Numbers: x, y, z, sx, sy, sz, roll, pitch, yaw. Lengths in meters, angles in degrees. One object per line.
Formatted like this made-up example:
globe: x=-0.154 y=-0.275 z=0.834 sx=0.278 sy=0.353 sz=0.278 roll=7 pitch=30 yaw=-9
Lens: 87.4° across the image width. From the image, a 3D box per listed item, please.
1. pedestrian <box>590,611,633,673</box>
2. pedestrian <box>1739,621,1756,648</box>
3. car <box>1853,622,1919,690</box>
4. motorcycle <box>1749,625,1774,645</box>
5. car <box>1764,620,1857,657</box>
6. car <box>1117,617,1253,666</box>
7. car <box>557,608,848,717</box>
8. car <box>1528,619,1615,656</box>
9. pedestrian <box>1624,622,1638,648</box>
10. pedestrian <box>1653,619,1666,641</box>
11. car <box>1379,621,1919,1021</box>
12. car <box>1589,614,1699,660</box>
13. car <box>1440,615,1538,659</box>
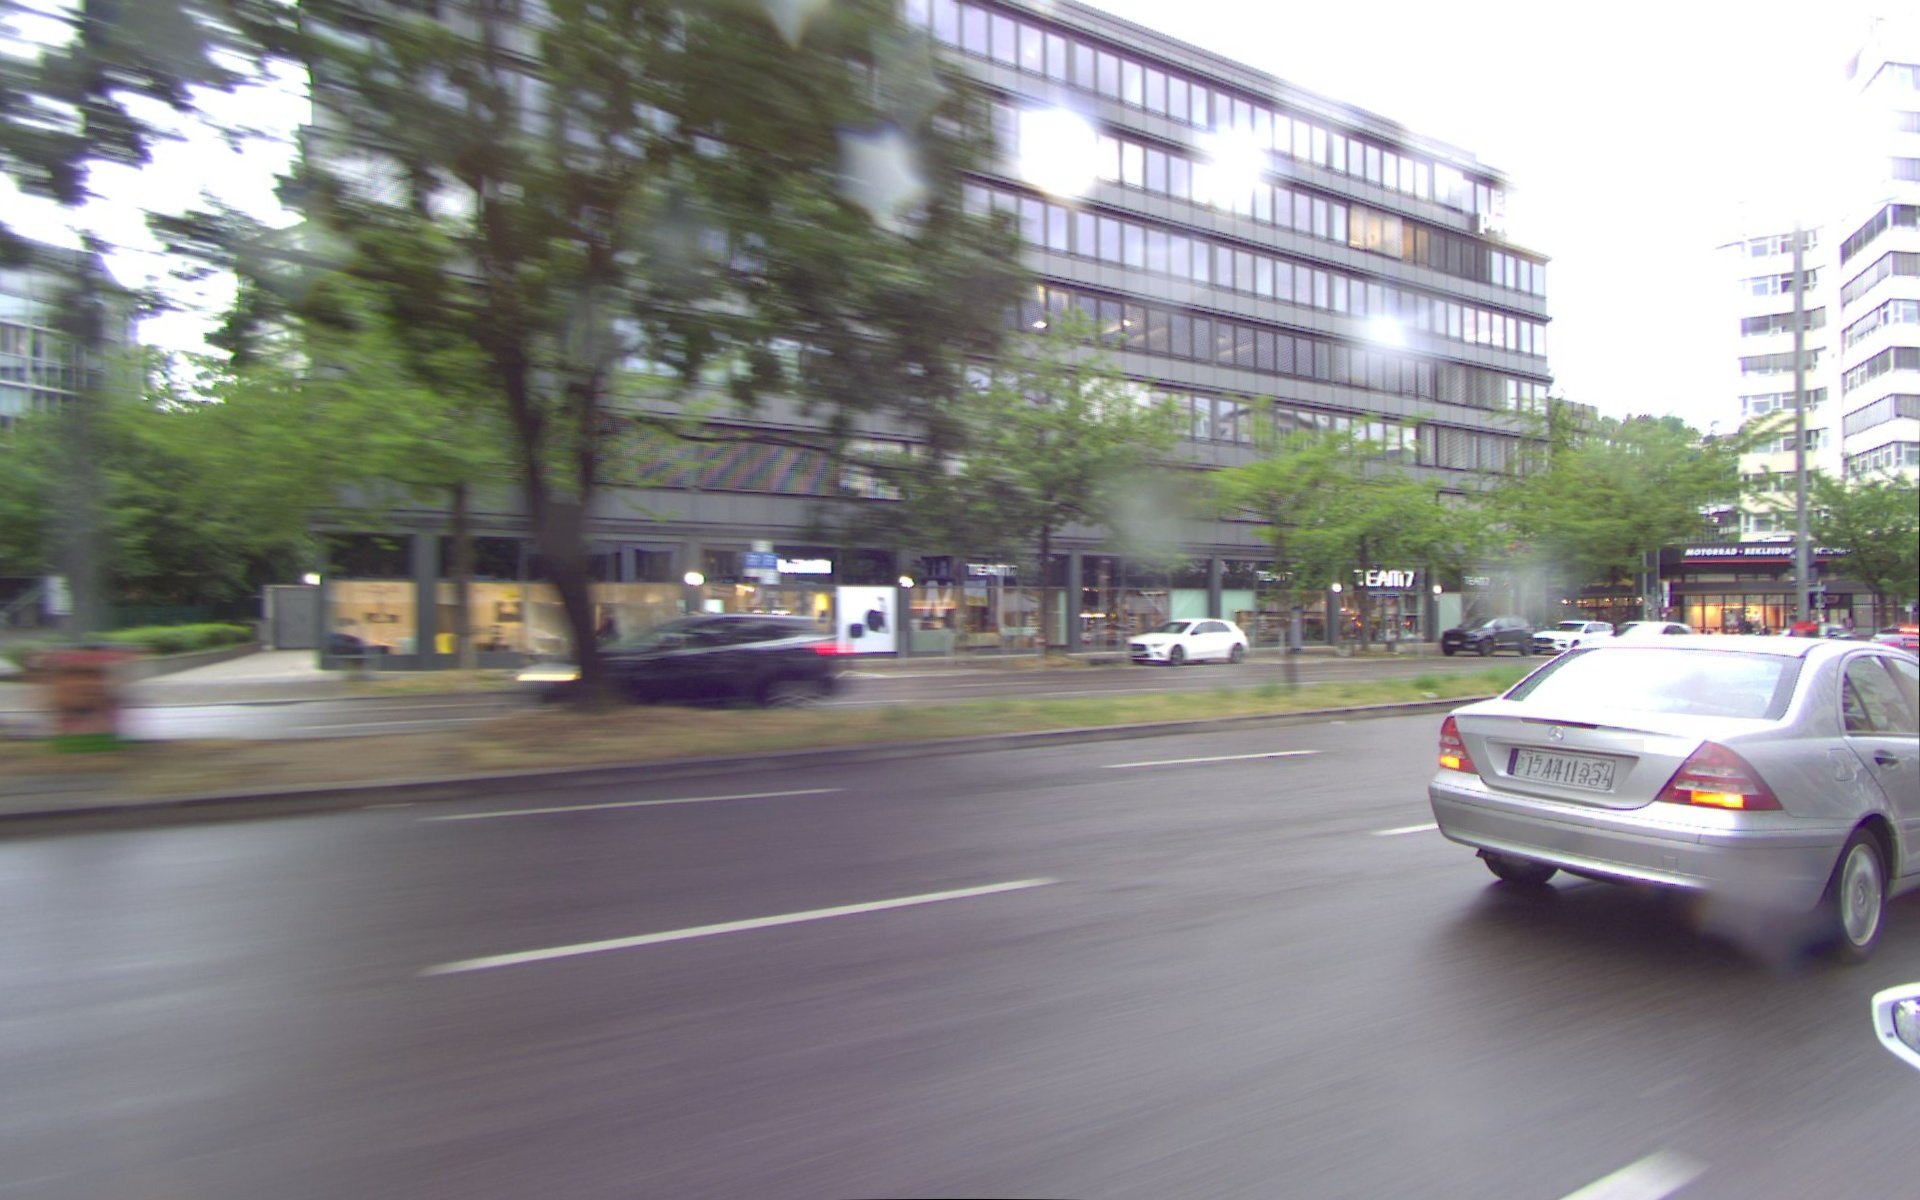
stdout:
pedestrian: x=-9.969 y=1.180 z=28.751 sx=1.045 sy=1.738 sz=0.739 roll=1 pitch=-1 yaw=-31
pedestrian: x=51.103 y=2.249 z=65.154 sx=0.739 sy=1.736 sz=0.593 roll=0 pitch=-1 yaw=22
car: x=22.428 y=1.273 z=23.097 sx=3.955 sy=1.476 sz=1.765 roll=2 pitch=-2 yaw=-32
motorcycle: x=54.494 y=2.362 z=68.331 sx=0.691 sy=1.350 sz=1.822 roll=0 pitch=-1 yaw=16
car: x=35.534 y=1.615 z=41.944 sx=4.111 sy=1.472 sz=1.617 roll=2 pitch=-2 yaw=-29
car: x=7.172 y=1.309 z=31.877 sx=4.396 sy=1.451 sz=1.615 roll=2 pitch=-2 yaw=-32
car: x=-3.512 y=0.828 z=13.937 sx=3.582 sy=1.328 sz=1.613 roll=2 pitch=-2 yaw=-35
car: x=26.393 y=1.582 z=43.342 sx=3.919 sy=1.480 sz=1.615 roll=1 pitch=0 yaw=-32
pedestrian: x=39.666 y=2.046 z=59.392 sx=0.591 sy=1.523 sz=0.437 roll=0 pitch=-1 yaw=23
pedestrian: x=48.211 y=2.057 z=69.275 sx=0.654 sy=1.523 sz=0.437 roll=0 pitch=-1 yaw=23
car: x=4.484 y=0.898 z=5.660 sx=4.309 sy=1.498 sz=1.664 roll=1 pitch=0 yaw=-30
car: x=23.913 y=1.294 z=35.093 sx=4.259 sy=1.512 sz=1.615 roll=2 pitch=-2 yaw=-32
car: x=21.253 y=1.447 z=40.317 sx=4.185 sy=1.632 sz=1.614 roll=1 pitch=0 yaw=-32
